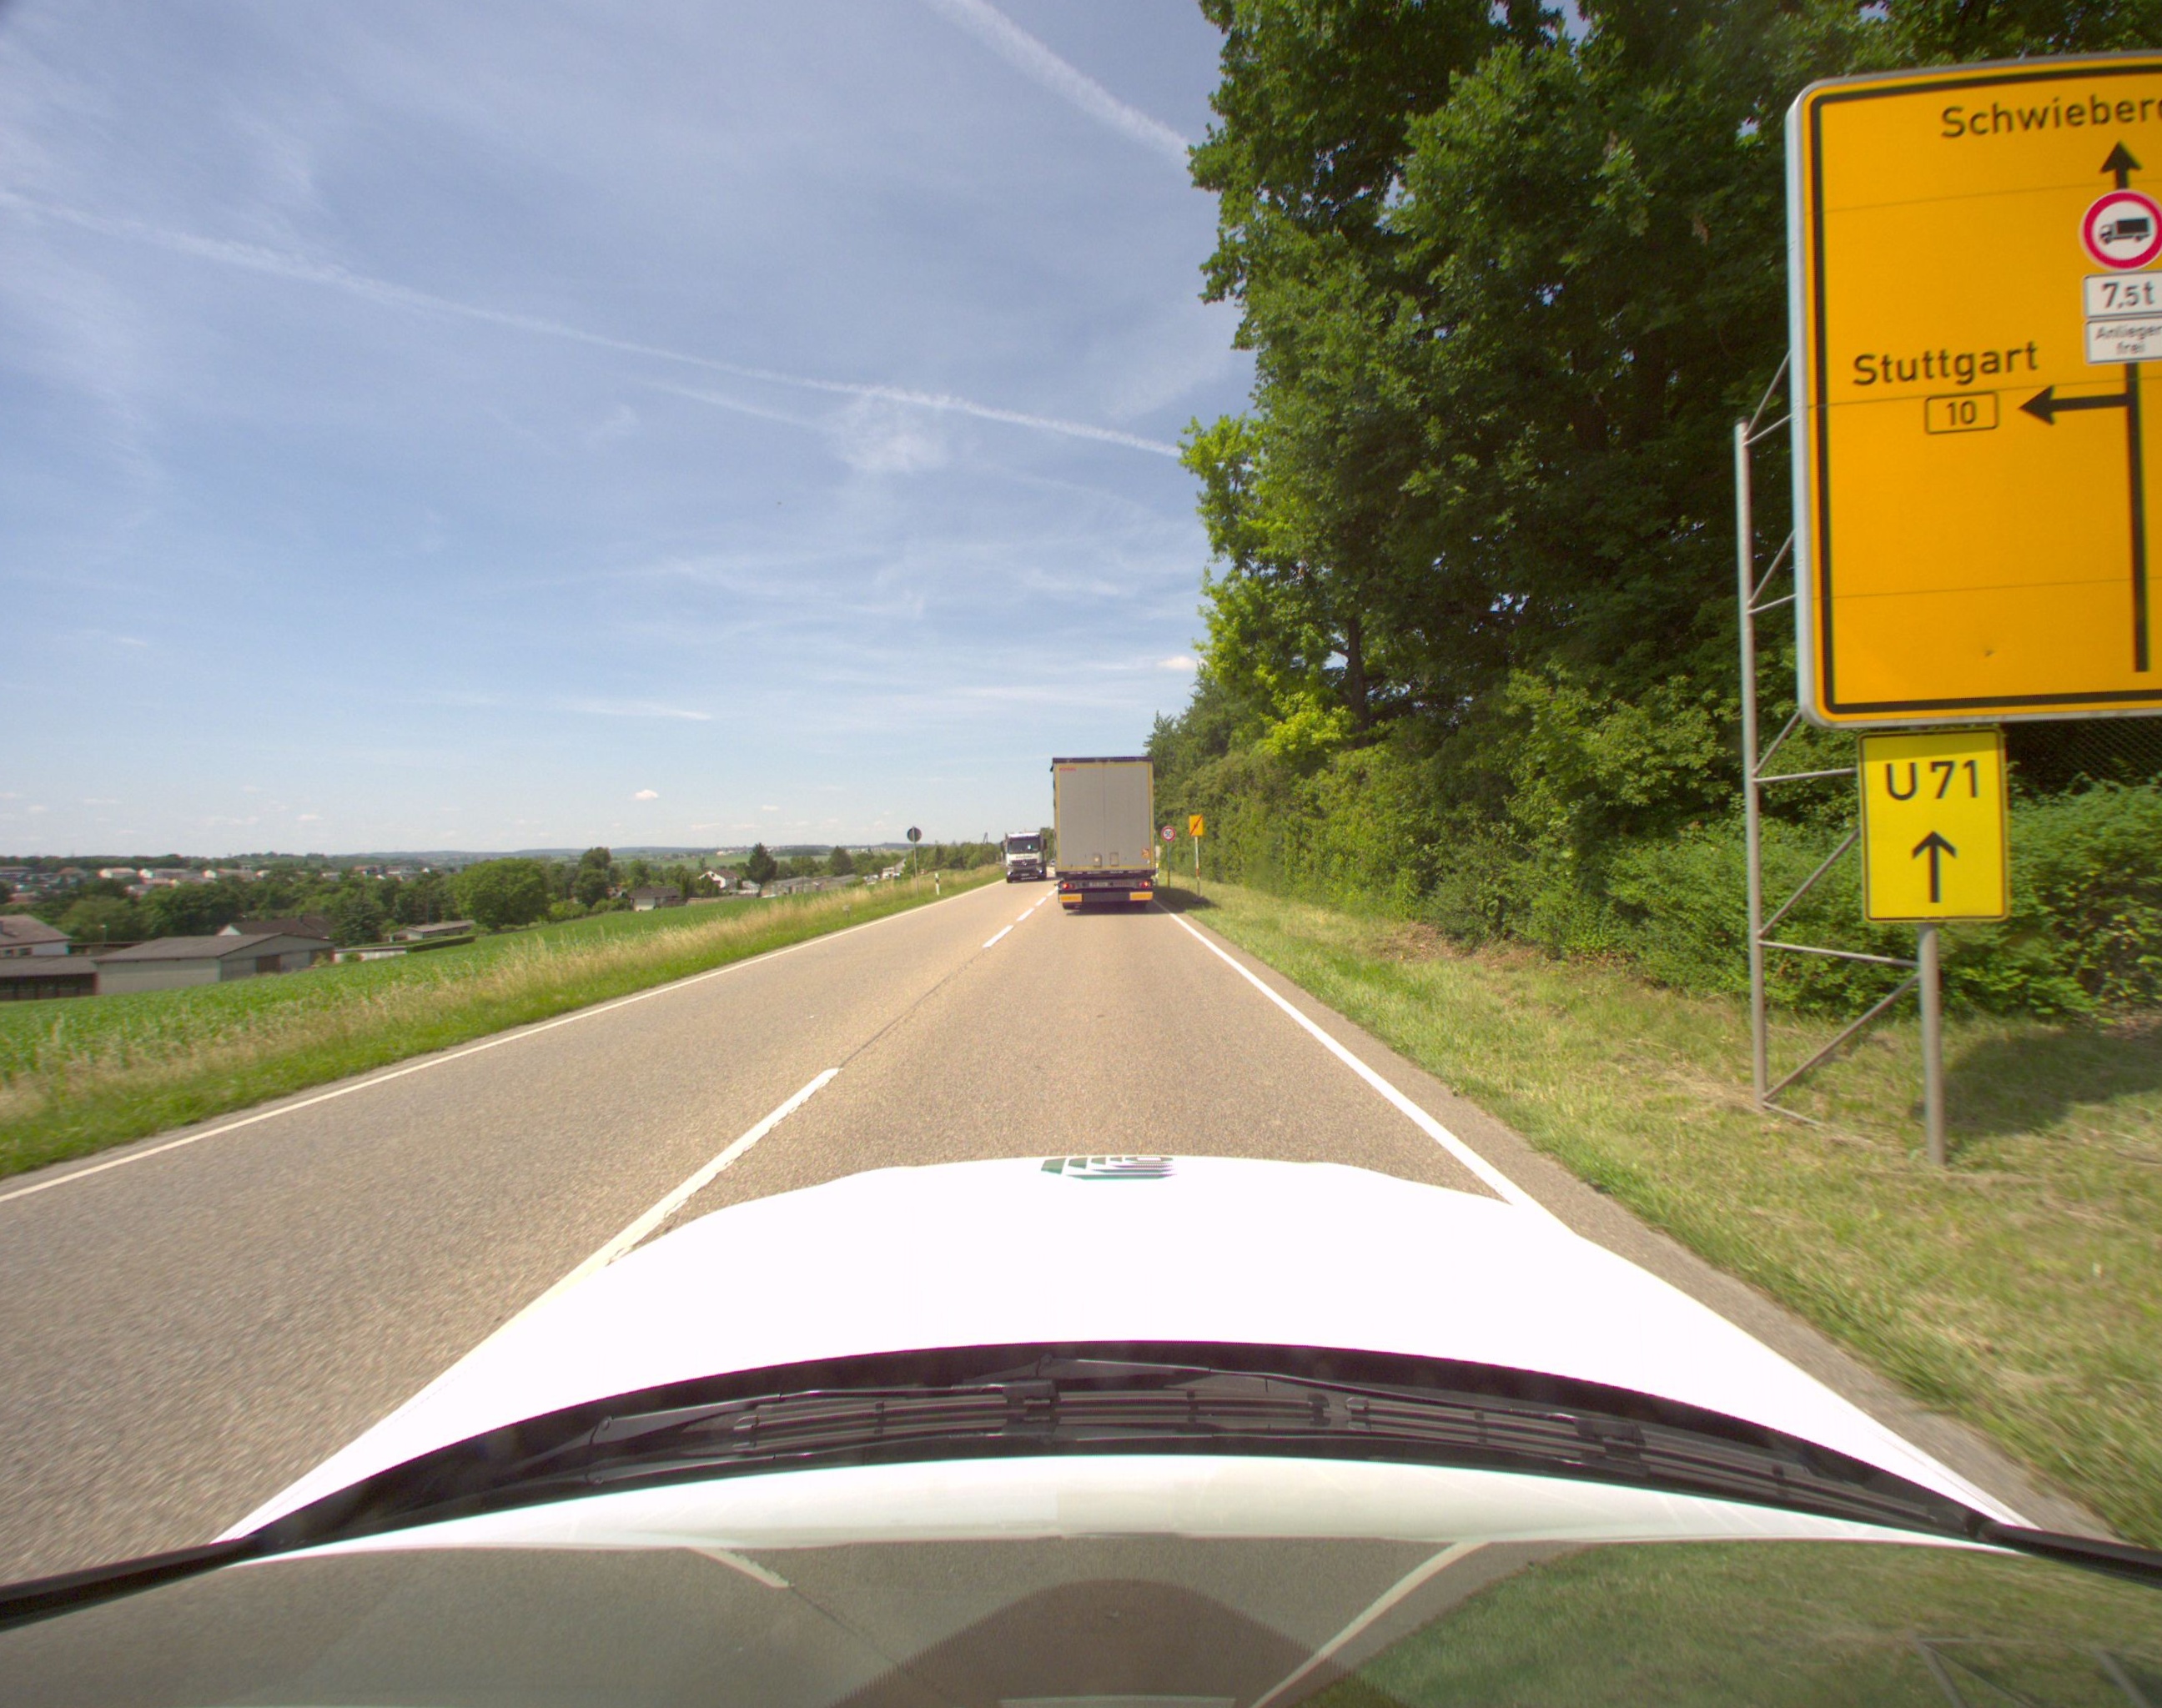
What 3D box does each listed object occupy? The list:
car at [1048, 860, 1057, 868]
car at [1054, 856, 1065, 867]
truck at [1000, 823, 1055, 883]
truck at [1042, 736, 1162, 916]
[{"bbox_3d":[-6.862,2.284,193.174,1.888,1.777,4.381,-4,0,-3],"label":"car"},{"bbox_3d":[-4.681,1.637,177.325,2.167,2.013,4.521,-4,0,-3],"label":"car"},{"bbox_3d":[-3.554,-0.024,56.776,2.747,3.576,11.064,-4,0,0],"label":"truck"},{"bbox_3d":[0.429,-0.696,24.641,2.899,4.410,8.855,-1,0,-1],"label":"truck"}]
